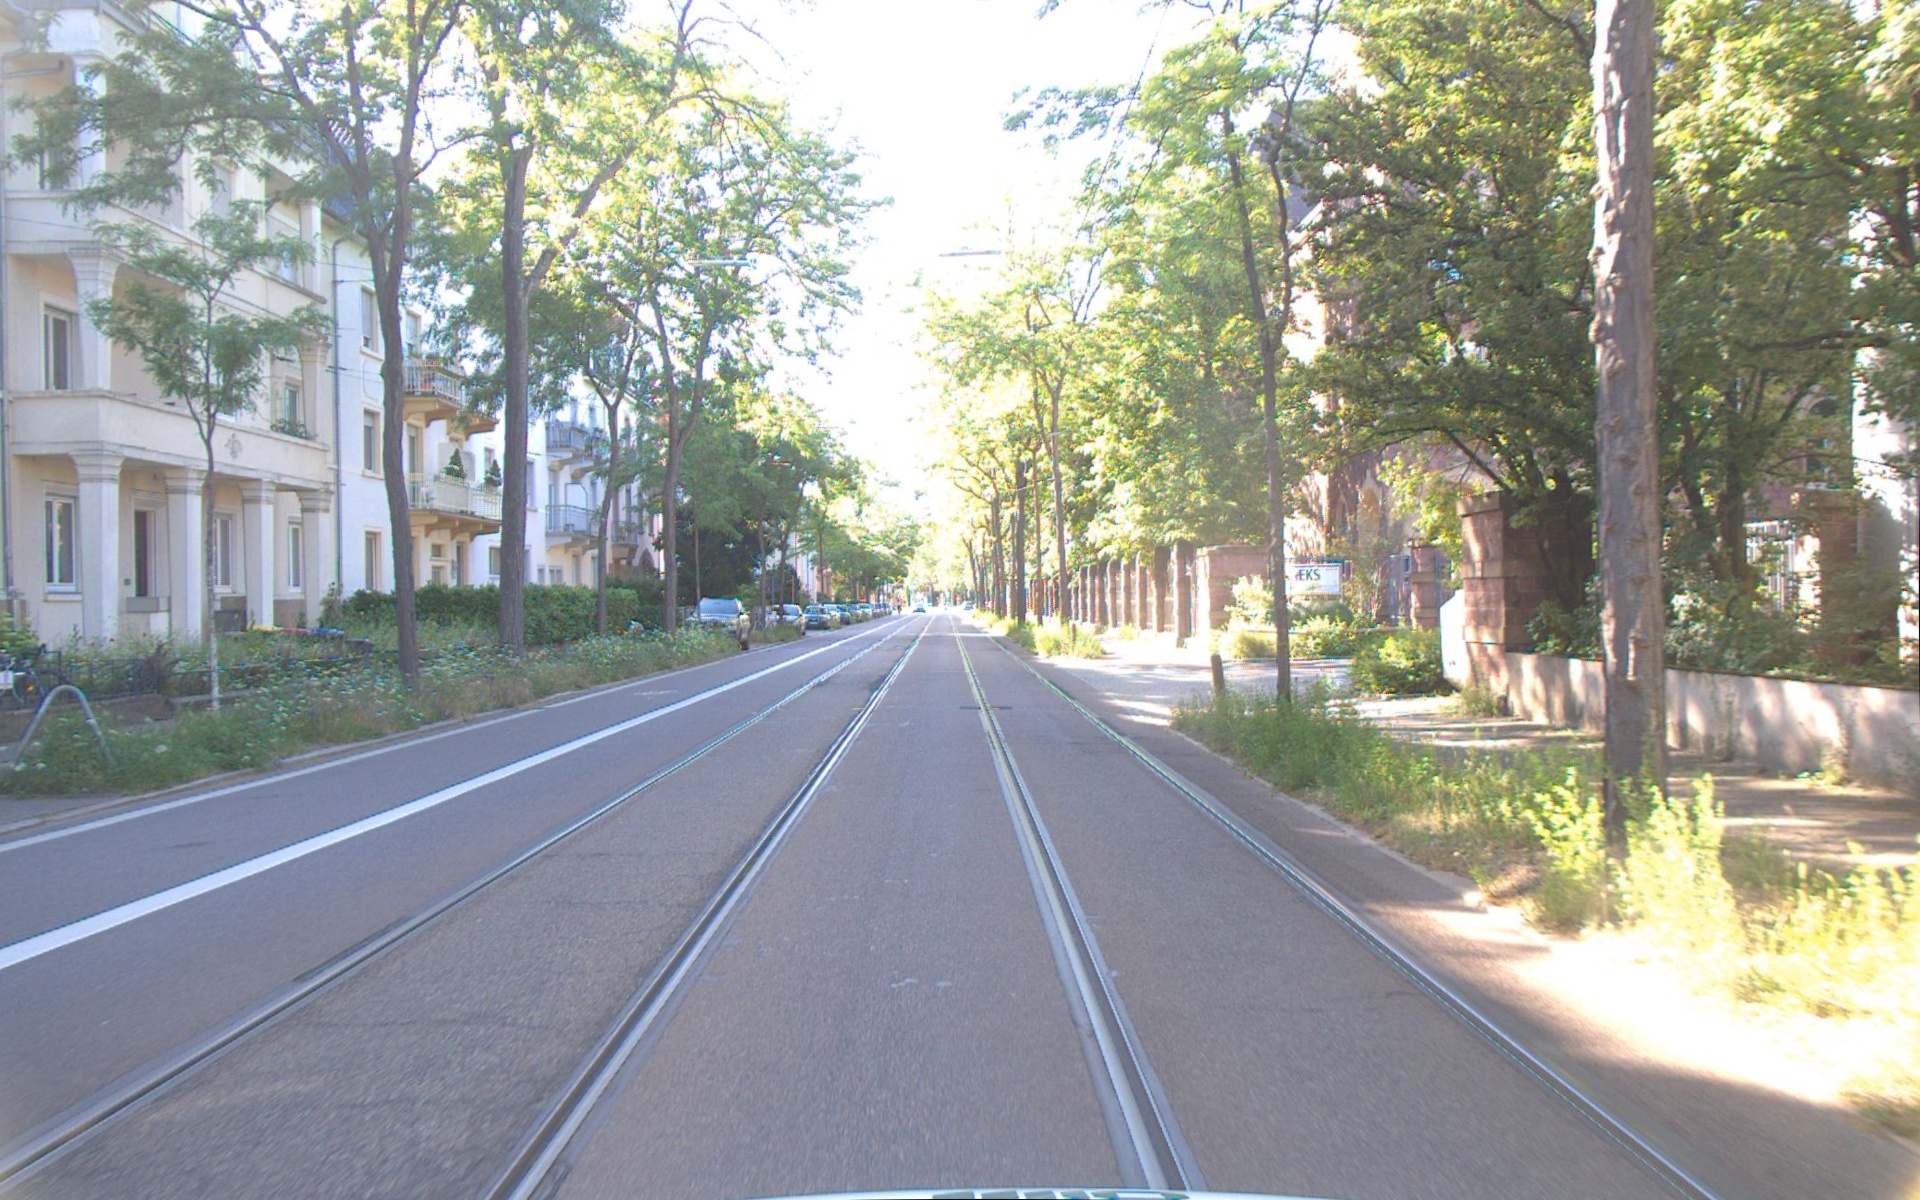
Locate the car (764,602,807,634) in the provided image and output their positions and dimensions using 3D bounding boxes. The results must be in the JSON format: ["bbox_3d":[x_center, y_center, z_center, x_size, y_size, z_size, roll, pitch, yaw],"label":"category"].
[{"bbox_3d":[-8.856,0.879,84.371,1.740,1.568,4.485,0,0,-1],"label":"car"}]

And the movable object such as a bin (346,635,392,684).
[{"bbox_3d":[-11.495,1.155,32.183,0.615,0.937,0.740,0,0,-1],"label":"movable object such as a bin"}]

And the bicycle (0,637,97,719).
[{"bbox_3d":[-12.224,1.009,21.342,1.848,1.014,0.549,-1,0,-45],"label":"bicycle"}]

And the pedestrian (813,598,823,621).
[{"bbox_3d":[-11.123,0.733,129.873,0.677,1.833,0.813,-1,0,-1],"label":"pedestrian"}]

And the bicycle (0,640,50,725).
[{"bbox_3d":[-12.274,1.035,20.305,1.848,1.014,0.549,-1,0,-45],"label":"bicycle"}]

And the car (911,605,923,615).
[{"bbox_3d":[-6.191,1.444,238.392,1.722,1.464,4.522,-1,0,-2],"label":"car"}]

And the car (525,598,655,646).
[{"bbox_3d":[-13.385,0.776,59.991,4.212,1.690,1.953,1,0,1],"label":"car"}]

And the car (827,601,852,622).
[{"bbox_3d":[-9.129,0.868,125.250,1.722,1.537,4.437,0,0,-2],"label":"car"}]

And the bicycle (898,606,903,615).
[{"bbox_3d":[-8.000,1.399,222.111,0.614,1.198,1.913,-3,0,-1],"label":"bicycle"}]

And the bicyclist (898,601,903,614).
[{"bbox_3d":[-8.017,0.975,222.066,0.613,1.667,0.940,-3,0,-1],"label":"bicyclist"}]

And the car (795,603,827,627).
[{"bbox_3d":[-9.281,0.924,103.245,1.671,1.431,4.332,0,0,-2],"label":"car"}]

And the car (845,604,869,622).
[{"bbox_3d":[-8.579,1.070,138.257,1.780,1.511,4.205,0,0,-1],"label":"car"}]

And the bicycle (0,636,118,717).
[{"bbox_3d":[-12.375,1.014,22.178,1.848,1.014,0.549,-1,0,-45],"label":"bicycle"}]

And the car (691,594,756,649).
[{"bbox_3d":[-8.311,0.723,58.502,1.833,1.855,4.769,0,0,-3],"label":"car"}]

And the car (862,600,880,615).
[{"bbox_3d":[-9.230,0.772,171.856,1.653,1.511,3.759,2,0,-2],"label":"car"}]

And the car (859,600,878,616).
[{"bbox_3d":[-9.124,0.790,164.431,1.668,1.511,4.078,2,0,-1],"label":"car"}]
